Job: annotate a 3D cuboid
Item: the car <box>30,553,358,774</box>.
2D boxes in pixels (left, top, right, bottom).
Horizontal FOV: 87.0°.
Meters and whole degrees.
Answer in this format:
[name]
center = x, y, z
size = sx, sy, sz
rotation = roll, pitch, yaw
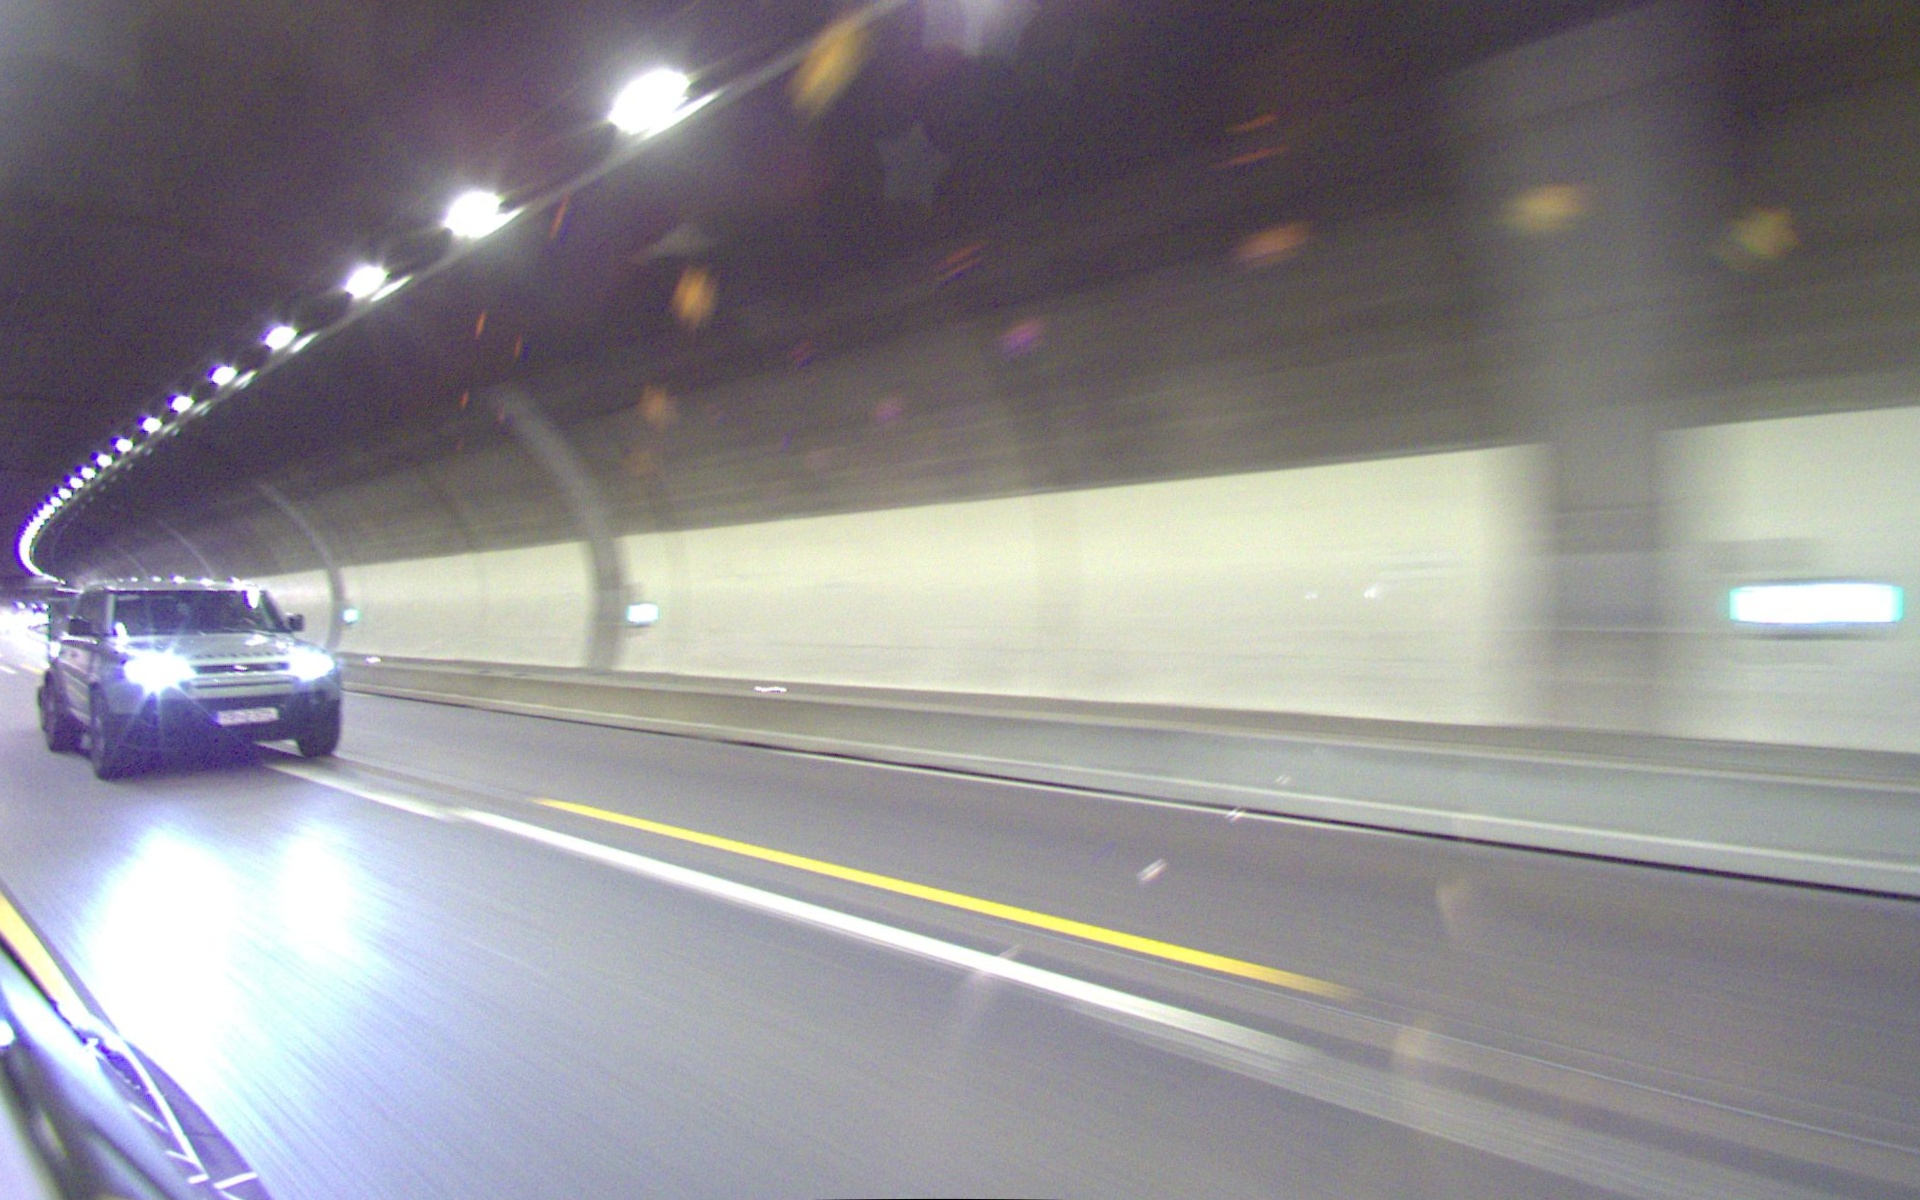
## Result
[car]
center = -8.739, 0.589, 11.306
size = 5.453, 1.909, 1.972
rotation = -1, -1, 43
